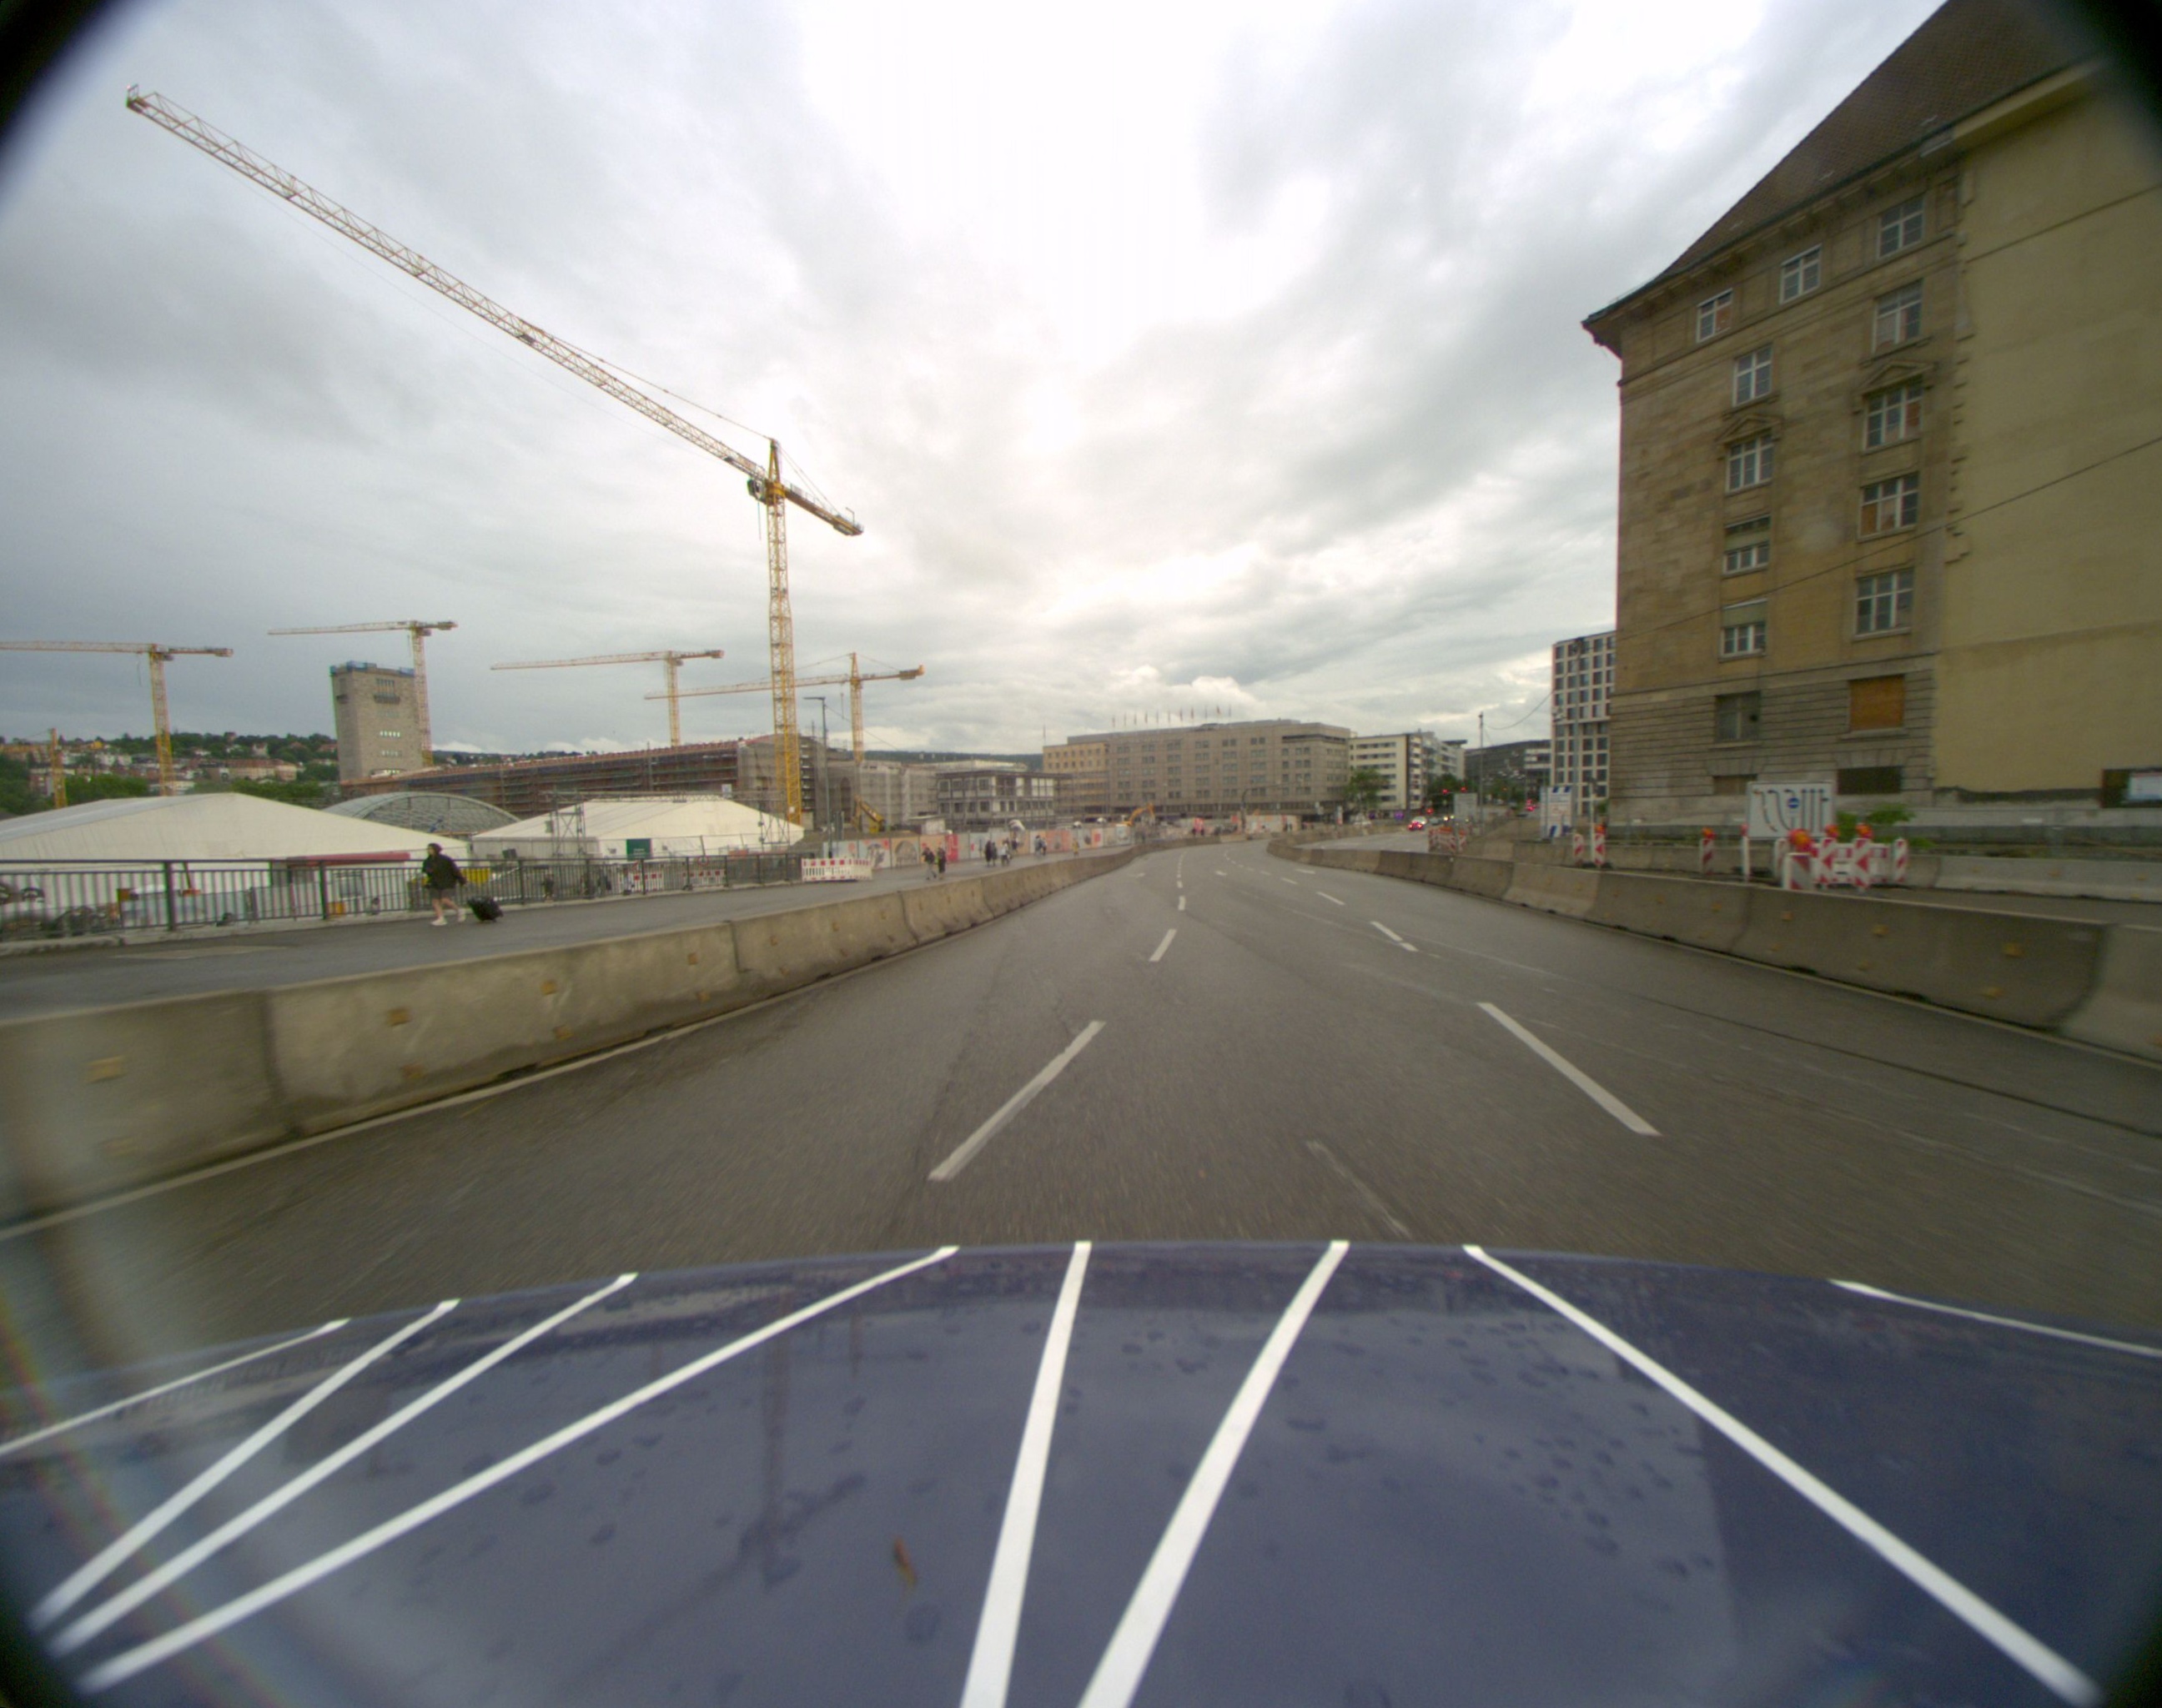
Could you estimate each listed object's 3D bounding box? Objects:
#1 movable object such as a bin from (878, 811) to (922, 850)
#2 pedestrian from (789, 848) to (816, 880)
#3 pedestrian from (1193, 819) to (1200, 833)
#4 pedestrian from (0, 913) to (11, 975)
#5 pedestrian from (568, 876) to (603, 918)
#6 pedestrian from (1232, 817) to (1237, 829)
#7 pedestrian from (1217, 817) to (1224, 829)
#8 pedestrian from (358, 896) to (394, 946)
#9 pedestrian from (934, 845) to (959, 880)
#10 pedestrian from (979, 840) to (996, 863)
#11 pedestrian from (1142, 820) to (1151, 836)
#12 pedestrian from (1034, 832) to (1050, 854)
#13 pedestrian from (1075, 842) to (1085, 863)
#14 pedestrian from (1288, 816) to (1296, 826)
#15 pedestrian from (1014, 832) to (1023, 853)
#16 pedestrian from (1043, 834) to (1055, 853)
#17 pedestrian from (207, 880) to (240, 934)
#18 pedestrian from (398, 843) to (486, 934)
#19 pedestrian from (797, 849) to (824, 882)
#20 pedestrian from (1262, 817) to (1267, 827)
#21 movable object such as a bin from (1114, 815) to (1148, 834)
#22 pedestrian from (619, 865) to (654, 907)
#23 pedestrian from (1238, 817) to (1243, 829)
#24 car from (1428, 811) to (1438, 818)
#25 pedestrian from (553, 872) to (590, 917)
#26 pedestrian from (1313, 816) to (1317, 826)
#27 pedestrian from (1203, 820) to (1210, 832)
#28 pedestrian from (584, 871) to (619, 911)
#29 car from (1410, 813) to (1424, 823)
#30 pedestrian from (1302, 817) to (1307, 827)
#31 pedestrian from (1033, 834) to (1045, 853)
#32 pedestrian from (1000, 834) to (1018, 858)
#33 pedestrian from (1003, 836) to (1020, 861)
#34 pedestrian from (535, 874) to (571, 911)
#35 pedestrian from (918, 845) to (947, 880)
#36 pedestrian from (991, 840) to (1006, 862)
[{"bbox_3d":[-16.415,-2.183,69.112,1.940,3.391,4.233,0,3,15],"label":"movable object such as a bin"},{"bbox_3d":[-15.500,0.555,42.258,0.866,1.680,1.010,1,4,37],"label":"pedestrian"},{"bbox_3d":[14.978,-3.620,98.428,0.647,1.734,0.767,2,4,21],"label":"pedestrian"},{"bbox_3d":[-32.636,2.719,22.525,0.642,1.806,0.754,-3,4,-23],"label":"pedestrian"},{"bbox_3d":[-20.668,1.771,31.699,0.698,1.628,0.917,1,4,37],"label":"pedestrian"},{"bbox_3d":[21.726,-4.408,107.658,0.585,1.699,0.677,2,4,19],"label":"pedestrian"},{"bbox_3d":[18.543,-4.134,101.105,0.654,1.682,0.777,3,5,32],"label":"pedestrian"},{"bbox_3d":[-24.693,2.324,26.623,0.753,1.628,0.586,-4,4,-34],"label":"pedestrian"},{"bbox_3d":[-6.343,0.399,35.882,0.732,1.566,0.806,-1,3,35],"label":"pedestrian"},{"bbox_3d":[-6.525,-0.167,53.112,0.714,1.545,1.009,1,4,27],"label":"pedestrian"},{"bbox_3d":[7.382,-2.913,85.443,0.745,1.697,0.688,2,4,22],"label":"pedestrian"},{"bbox_3d":[-3.210,-0.927,62.982,0.818,1.839,0.933,2,5,44],"label":"pedestrian"},{"bbox_3d":[-0.093,-0.118,61.728,0.648,1.624,0.908,-1,4,8],"label":"pedestrian"},{"bbox_3d":[36.804,-5.704,132.762,1.096,1.752,0.907,3,5,35],"label":"pedestrian"},{"bbox_3d":[-5.303,-0.992,64.443,0.567,1.739,0.496,0,4,26],"label":"pedestrian"},{"bbox_3d":[-2.745,-0.917,64.899,0.647,1.545,0.767,2,5,44],"label":"pedestrian"},{"bbox_3d":[-26.754,1.639,23.705,0.704,1.607,0.567,2,5,40],"label":"pedestrian"},{"bbox_3d":[-12.165,0.623,14.476,0.730,1.643,1.063,1,3,35],"label":"pedestrian"},{"bbox_3d":[-14.762,0.593,41.500,0.866,1.716,1.010,1,4,37],"label":"pedestrian"},{"bbox_3d":[28.990,-5.067,119.929,0.647,1.660,0.766,2,4,19],"label":"pedestrian"},{"bbox_3d":[6.759,-3.999,102.486,4.134,2.522,1.995,-3,4,-27],"label":"movable object such as a bin"},{"bbox_3d":[-19.840,1.403,33.900,0.866,1.772,1.010,1,4,37],"label":"pedestrian"},{"bbox_3d":[23.121,-4.501,110.311,0.647,1.752,0.584,2,4,19],"label":"pedestrian"},{"bbox_3d":[89.276,-10.071,192.786,1.994,1.814,4.006,1,4,30],"label":"car"},{"bbox_3d":[-21.548,1.682,32.123,0.771,1.774,1.010,1,4,37],"label":"pedestrian"},{"bbox_3d":[43.371,-6.122,140.933,0.652,1.752,0.549,2,4,19],"label":"pedestrian"},{"bbox_3d":[16.183,-3.618,98.110,0.647,1.637,0.948,2,4,21],"label":"pedestrian"},{"bbox_3d":[-21.230,1.635,33.647,0.866,1.628,1.010,1,4,37],"label":"pedestrian"},{"bbox_3d":[53.982,-5.726,122.154,1.767,1.513,4.393,0,4,28],"label":"car"},{"bbox_3d":[39.541,-5.706,134.391,0.755,1.752,0.766,2,4,19],"label":"pedestrian"},{"bbox_3d":[-3.603,-0.926,65.338,0.647,1.646,0.767,2,5,44],"label":"pedestrian"},{"bbox_3d":[-5.501,-0.596,58.062,0.866,1.808,1.009,1,4,27],"label":"pedestrian"},{"bbox_3d":[-4.866,-0.416,53.073,0.778,1.713,0.892,1,4,27],"label":"pedestrian"},{"bbox_3d":[-23.579,1.705,33.919,0.866,1.545,1.010,1,4,37],"label":"pedestrian"},{"bbox_3d":[-7.072,0.398,36.176,0.860,1.585,0.954,1,4,35],"label":"pedestrian"},{"bbox_3d":[-5.735,-0.237,53.101,0.609,1.514,0.886,1,4,27],"label":"pedestrian"}]
